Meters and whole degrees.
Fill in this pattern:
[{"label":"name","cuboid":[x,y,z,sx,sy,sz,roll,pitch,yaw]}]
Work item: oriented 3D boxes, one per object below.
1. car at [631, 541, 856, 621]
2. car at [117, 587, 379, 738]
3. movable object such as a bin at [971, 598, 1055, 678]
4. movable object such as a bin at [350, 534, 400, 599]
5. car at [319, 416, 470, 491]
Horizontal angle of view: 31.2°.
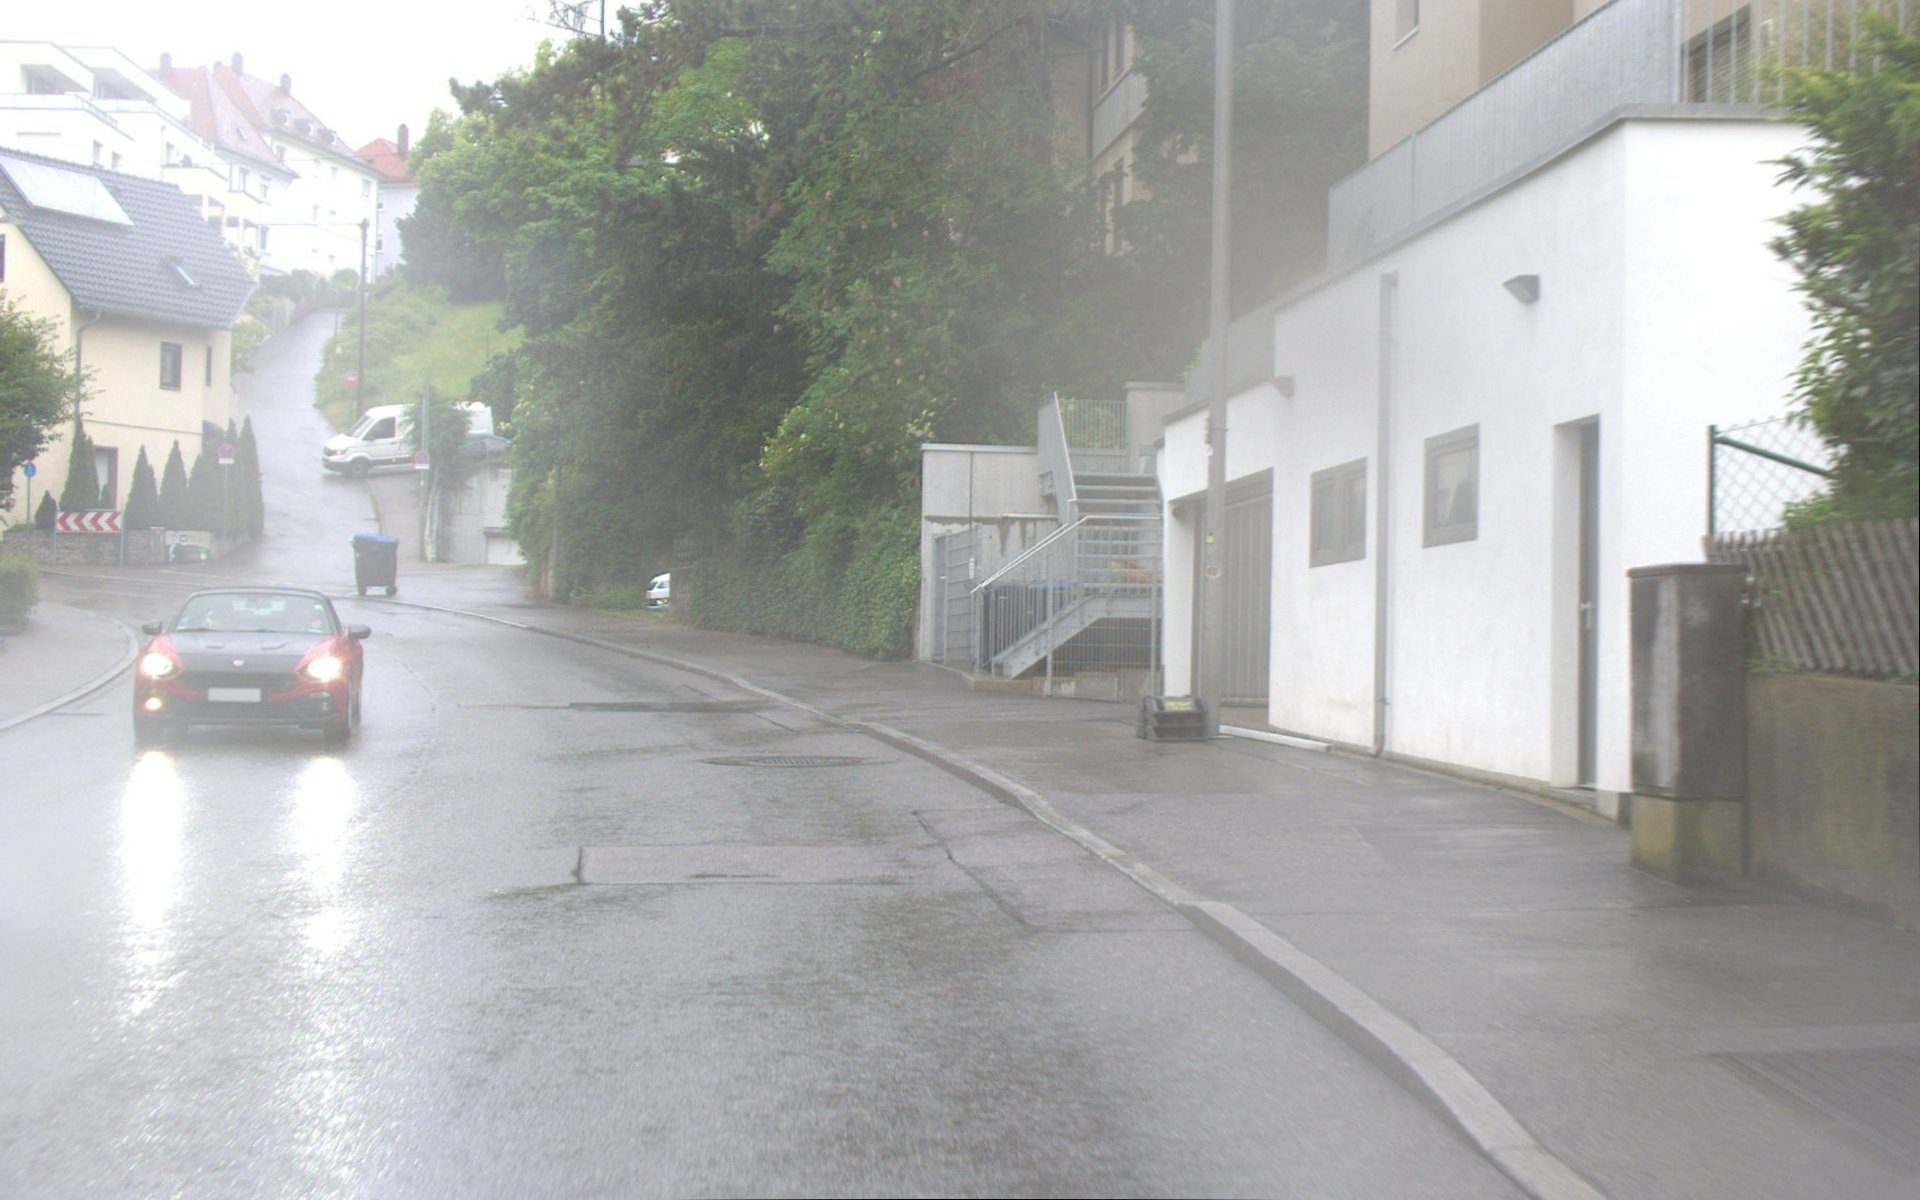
[{"label":"car","cuboid":[-4.285,-0.393,67.804,4.142,1.471,1.905,-1,2,-13]},{"label":"car","cuboid":[-5.941,0.487,29.075,1.679,1.142,4.001,1,1,-5]},{"label":"movable object such as a bin","cuboid":[0.647,0.460,41.801,0.874,0.938,0.746,1,1,-11]},{"label":"movable object such as a bin","cuboid":[-13.538,-0.786,79.562,1.081,1.437,1.458,2,1,-10]},{"label":"car","cuboid":[-19.799,-5.129,120.358,4.941,2.560,1.905,-1,2,-17]}]
